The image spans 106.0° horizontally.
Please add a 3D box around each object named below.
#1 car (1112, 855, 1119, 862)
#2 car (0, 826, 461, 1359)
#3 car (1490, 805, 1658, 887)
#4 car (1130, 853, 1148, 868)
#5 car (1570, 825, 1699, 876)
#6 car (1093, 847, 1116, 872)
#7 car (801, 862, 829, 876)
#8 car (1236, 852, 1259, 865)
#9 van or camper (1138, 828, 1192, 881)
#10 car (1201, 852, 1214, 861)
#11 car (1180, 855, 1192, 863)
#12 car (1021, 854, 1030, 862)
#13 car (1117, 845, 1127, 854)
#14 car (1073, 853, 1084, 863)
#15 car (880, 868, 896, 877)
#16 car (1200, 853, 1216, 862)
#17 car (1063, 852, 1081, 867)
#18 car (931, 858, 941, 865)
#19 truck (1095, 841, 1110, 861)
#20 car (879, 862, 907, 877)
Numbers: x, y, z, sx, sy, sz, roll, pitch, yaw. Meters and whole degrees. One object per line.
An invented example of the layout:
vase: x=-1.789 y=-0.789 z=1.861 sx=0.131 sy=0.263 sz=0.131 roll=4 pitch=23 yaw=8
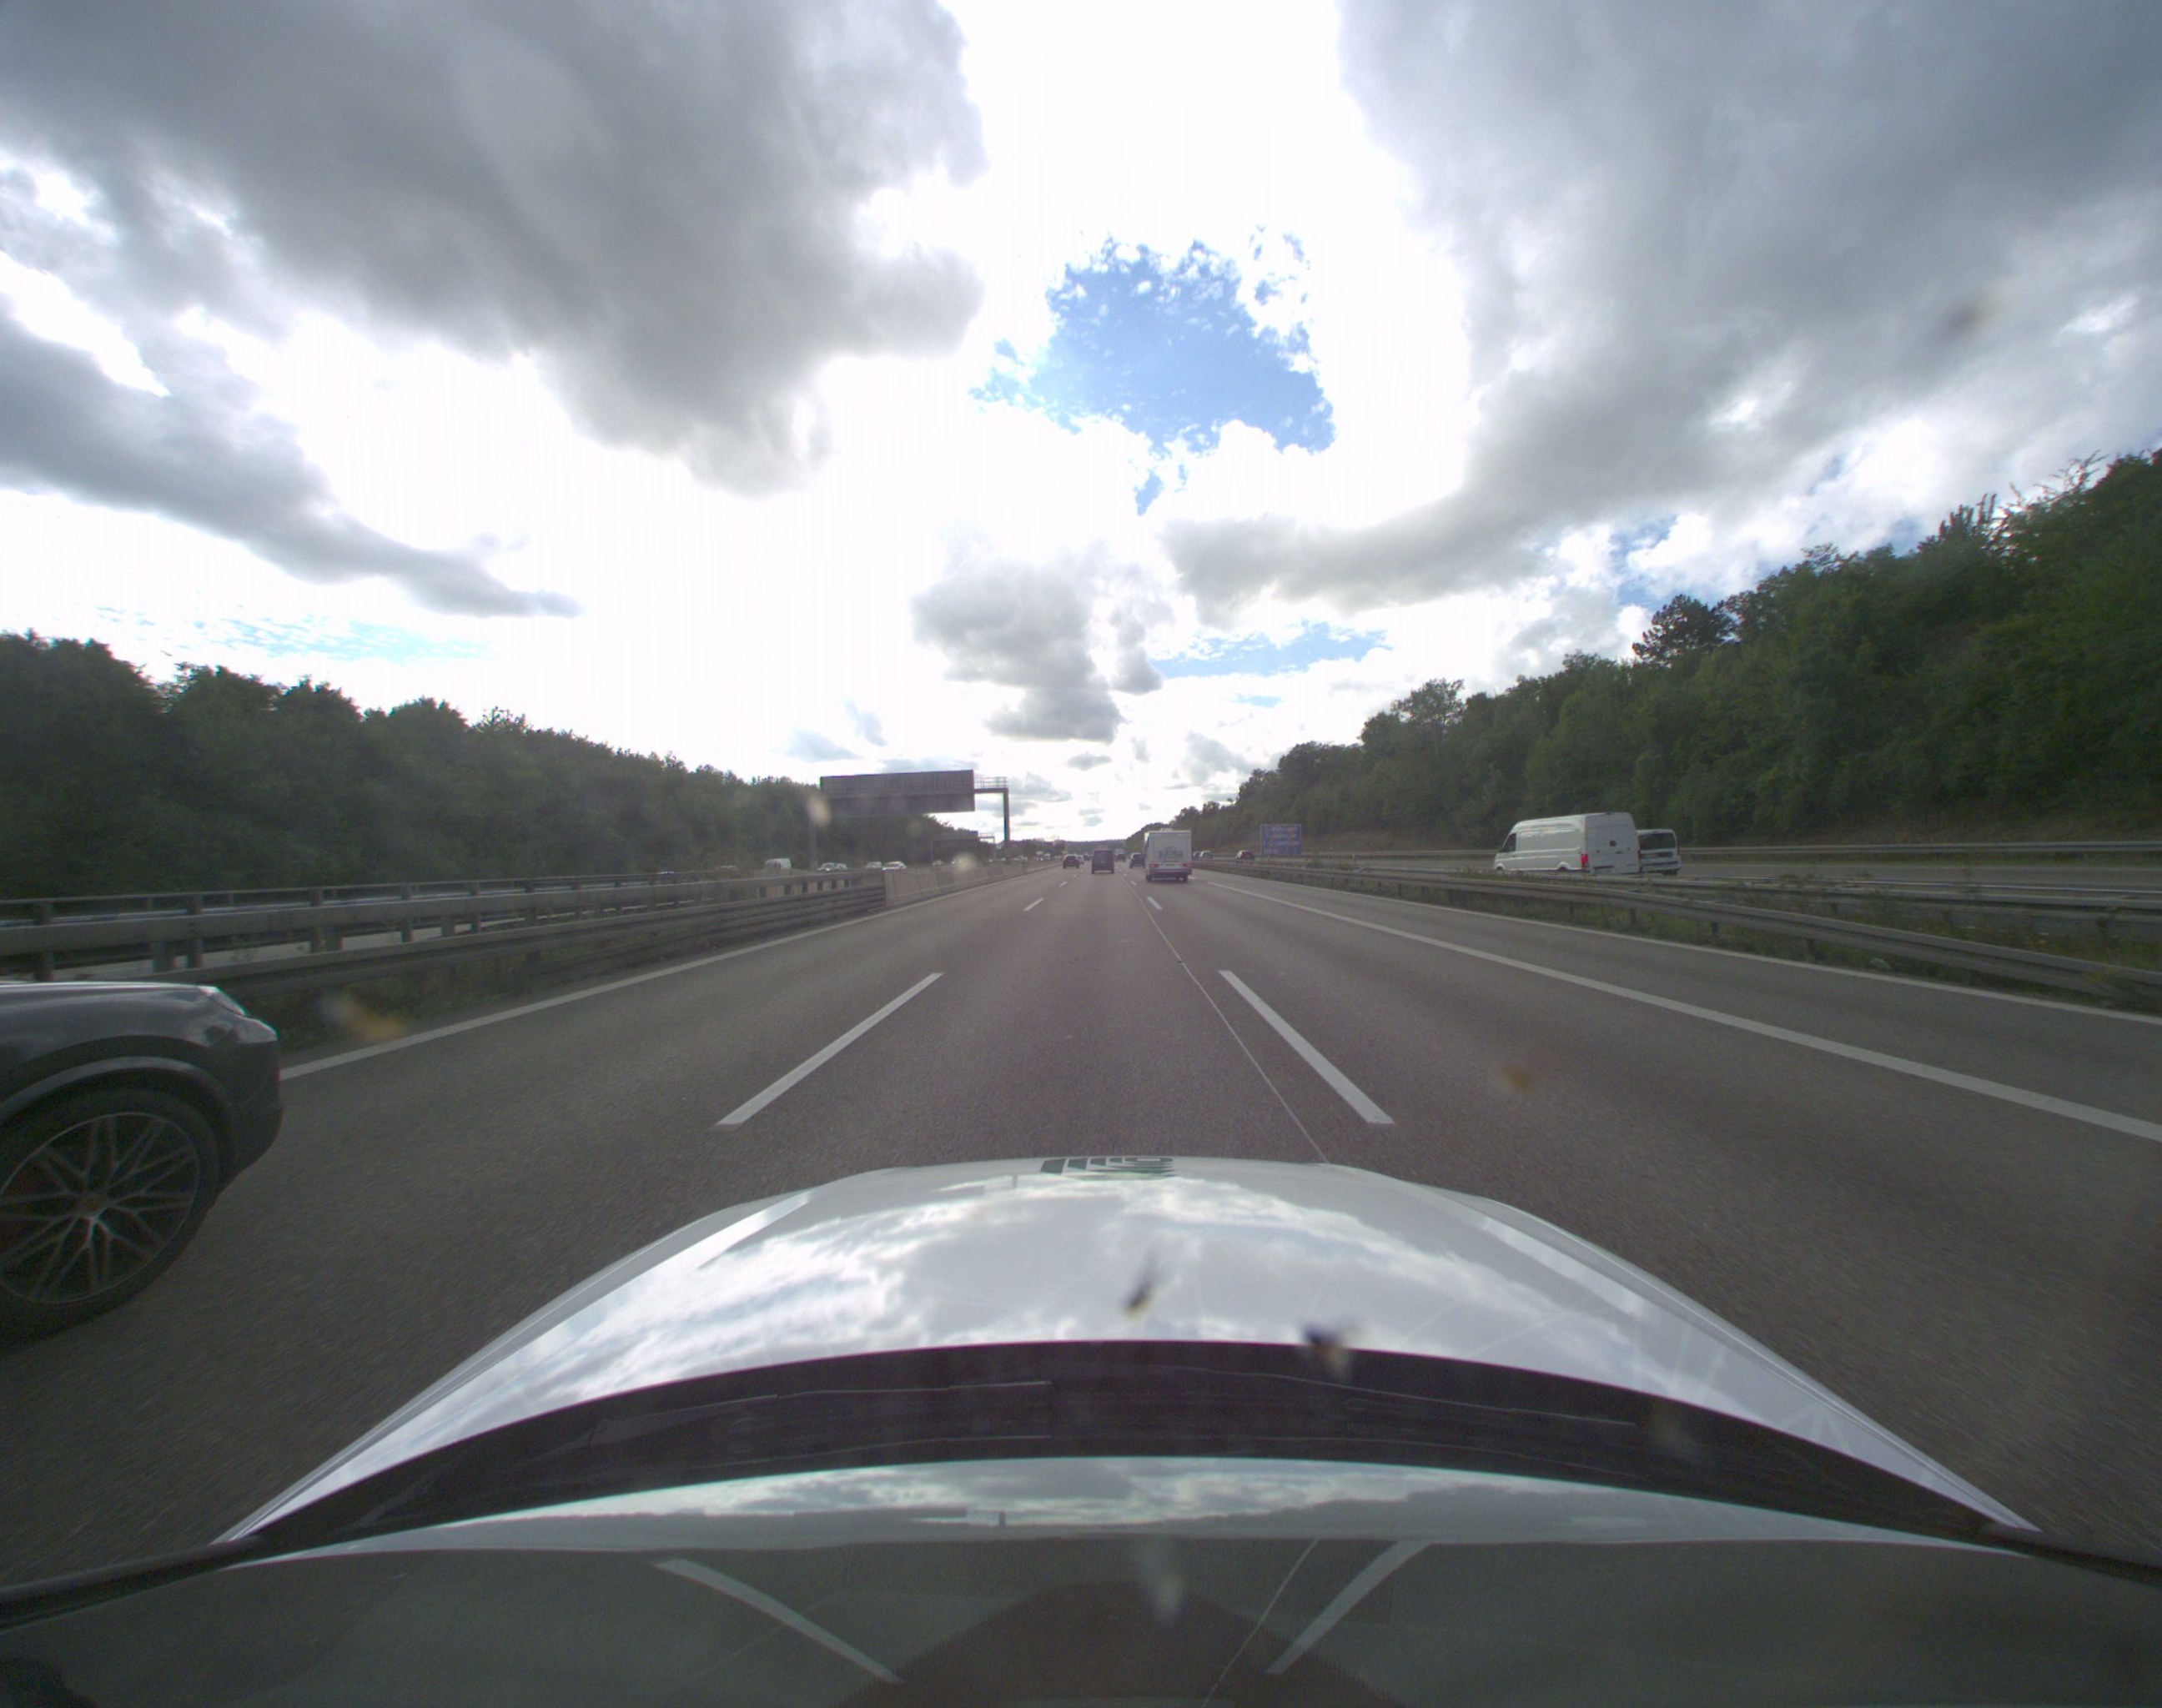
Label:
car: x=9.141 y=1.136 z=218.827 sx=1.746 sy=1.695 sz=4.191 roll=-1 pitch=0 yaw=1
car: x=-4.305 y=0.754 z=1.556 sx=1.905 sy=1.636 sz=5.501 roll=-1 pitch=0 yaw=1
car: x=17.488 y=-0.267 z=29.461 sx=2.062 sy=2.554 sz=6.744 roll=-2 pitch=0 yaw=1
car: x=6.274 y=0.674 z=88.524 sx=1.691 sy=1.564 sz=4.114 roll=-1 pitch=0 yaw=1
car: x=21.067 y=-0.128 z=31.278 sx=1.836 sy=1.752 sz=4.766 roll=-1 pitch=0 yaw=2
car: x=1.934 y=0.453 z=67.190 sx=1.848 sy=1.910 sz=4.261 roll=-1 pitch=0 yaw=1
car: x=-31.404 y=1.785 z=96.305 sx=1.669 sy=1.517 sz=4.372 roll=-2 pitch=0 yaw=3
car: x=19.857 y=0.508 z=97.102 sx=1.836 sy=1.484 sz=4.527 roll=-4 pitch=0 yaw=1
van or camper: x=4.639 y=0.004 z=46.227 sx=2.460 sy=2.722 sz=7.663 roll=-1 pitch=0 yaw=1
car: x=20.663 y=0.388 z=133.528 sx=1.535 sy=1.484 sz=3.943 roll=-4 pitch=0 yaw=1
car: x=21.730 y=0.968 z=168.318 sx=1.837 sy=1.484 sz=4.525 roll=-4 pitch=0 yaw=0
car: x=-14.497 y=1.060 z=211.787 sx=1.828 sy=1.786 sz=5.504 roll=-2 pitch=0 yaw=1
car: x=8.392 y=-0.920 z=168.194 sx=1.906 sy=1.919 sz=4.031 roll=-1 pitch=0 yaw=1
car: x=-0.427 y=0.629 z=129.106 sx=1.691 sy=1.611 sz=4.114 roll=-1 pitch=0 yaw=1
car: x=-33.225 y=3.190 z=140.416 sx=1.652 sy=1.444 sz=4.324 roll=-2 pitch=0 yaw=1
car: x=20.784 y=0.570 z=133.836 sx=1.837 sy=1.484 sz=4.525 roll=-4 pitch=0 yaw=0
car: x=-1.039 y=0.631 z=94.838 sx=1.866 sy=1.698 sz=4.073 roll=-1 pitch=0 yaw=1
car: x=-32.235 y=1.591 z=181.419 sx=1.497 sy=1.427 sz=4.109 roll=-2 pitch=0 yaw=0
truck: x=5.009 y=-0.673 z=189.240 sx=3.251 sy=4.375 sz=11.029 roll=-1 pitch=0 yaw=1
car: x=-18.226 y=1.465 z=79.195 sx=1.637 sy=1.315 sz=4.248 roll=-2 pitch=0 yaw=1
